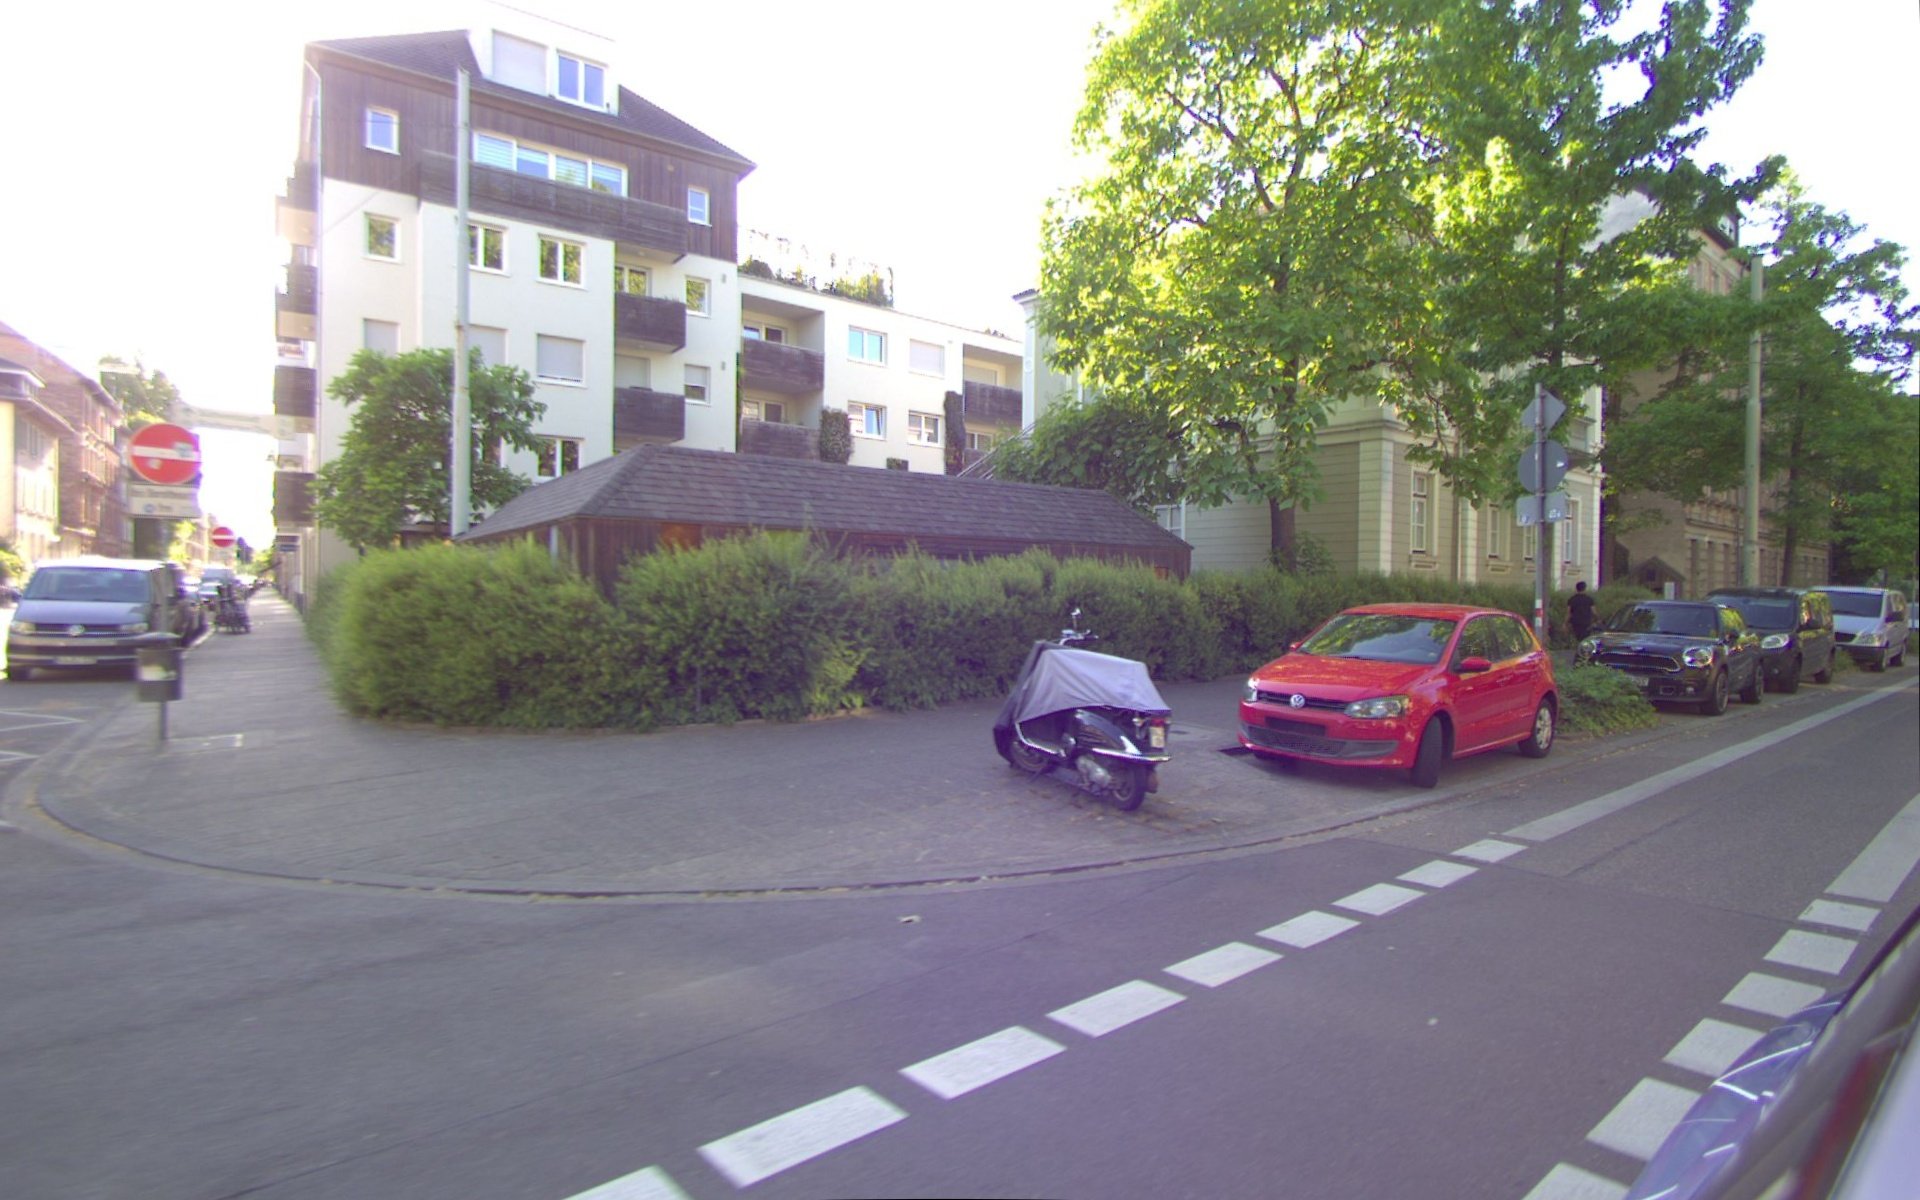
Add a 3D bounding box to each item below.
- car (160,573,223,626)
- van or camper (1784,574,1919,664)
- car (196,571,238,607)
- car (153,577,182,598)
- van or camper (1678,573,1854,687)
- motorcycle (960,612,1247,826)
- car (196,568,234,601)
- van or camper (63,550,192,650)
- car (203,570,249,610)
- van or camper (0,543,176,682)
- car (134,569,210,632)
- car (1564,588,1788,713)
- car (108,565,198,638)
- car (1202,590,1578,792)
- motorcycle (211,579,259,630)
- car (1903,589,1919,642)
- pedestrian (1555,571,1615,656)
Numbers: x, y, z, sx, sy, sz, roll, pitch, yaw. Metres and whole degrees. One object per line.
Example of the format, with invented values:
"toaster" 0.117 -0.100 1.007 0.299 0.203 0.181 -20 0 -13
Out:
"car" -28.528 -0.025 37.660 1.728 1.881 3.651 1 0 -36
"van or camper" 21.563 0.393 24.310 4.837 1.907 1.882 0 3 -41
"car" -40.354 -0.588 55.017 1.728 1.881 3.651 1 0 -36
"car" -77.909 -1.260 99.543 1.926 1.952 4.198 3 -1 -36
"van or camper" 14.917 0.470 18.641 4.365 1.804 1.694 0 3 -41
"motorcycle" 0.954 0.754 7.348 0.812 1.172 2.074 0 3 -36
"car" -44.160 -0.893 60.055 1.728 1.881 3.651 1 0 -36
"van or camper" -18.680 -0.015 22.893 1.894 2.007 4.596 1 0 -36
"car" -35.641 -0.475 49.168 1.728 1.881 3.651 1 0 -36
"van or camper" -15.045 0.171 17.694 1.894 2.090 4.596 1 0 -36
"car" -24.952 -0.003 32.138 1.728 1.881 3.651 1 0 -36
"car" 10.535 0.631 14.780 4.070 1.505 1.694 0 3 -41
"car" -22.381 0.021 28.163 1.728 1.881 3.651 1 0 -36
"car" 4.035 0.660 9.226 3.797 1.397 1.607 0 3 -41
"motorcycle" -21.110 0.104 29.491 1.077 1.426 3.142 0 0 -36
"car" 33.458 0.535 34.211 4.296 1.732 1.814 0 3 -41
"pedestrian" 12.802 0.258 20.723 0.869 1.699 0.813 0 0 -41
